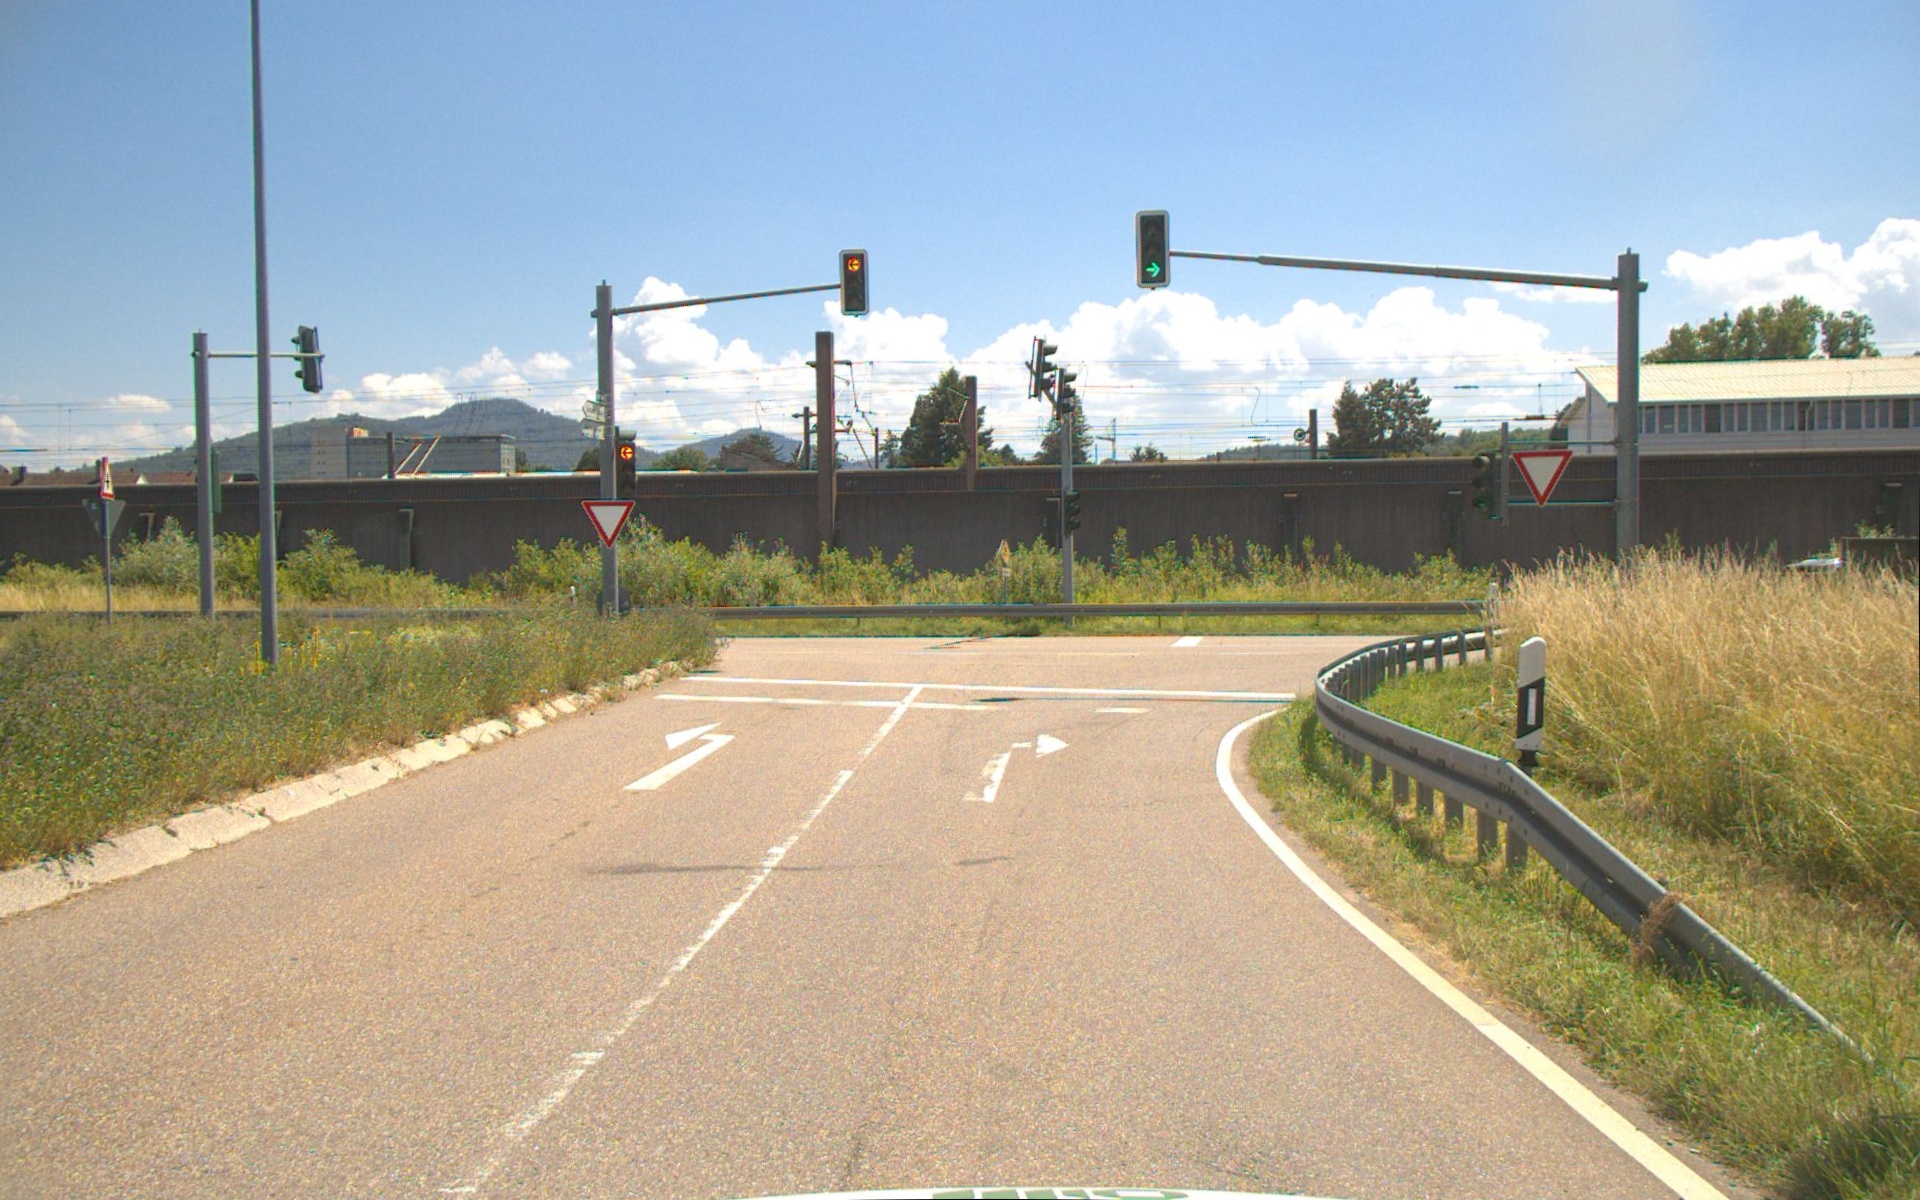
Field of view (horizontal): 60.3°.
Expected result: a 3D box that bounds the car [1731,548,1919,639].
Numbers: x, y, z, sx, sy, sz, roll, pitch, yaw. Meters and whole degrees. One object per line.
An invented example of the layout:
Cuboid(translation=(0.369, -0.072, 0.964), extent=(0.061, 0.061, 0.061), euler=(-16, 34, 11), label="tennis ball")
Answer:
Cuboid(translation=(16.200, -0.136, 29.590), extent=(3.902, 1.529, 2.002), euler=(1, 2, 6), label="car")
